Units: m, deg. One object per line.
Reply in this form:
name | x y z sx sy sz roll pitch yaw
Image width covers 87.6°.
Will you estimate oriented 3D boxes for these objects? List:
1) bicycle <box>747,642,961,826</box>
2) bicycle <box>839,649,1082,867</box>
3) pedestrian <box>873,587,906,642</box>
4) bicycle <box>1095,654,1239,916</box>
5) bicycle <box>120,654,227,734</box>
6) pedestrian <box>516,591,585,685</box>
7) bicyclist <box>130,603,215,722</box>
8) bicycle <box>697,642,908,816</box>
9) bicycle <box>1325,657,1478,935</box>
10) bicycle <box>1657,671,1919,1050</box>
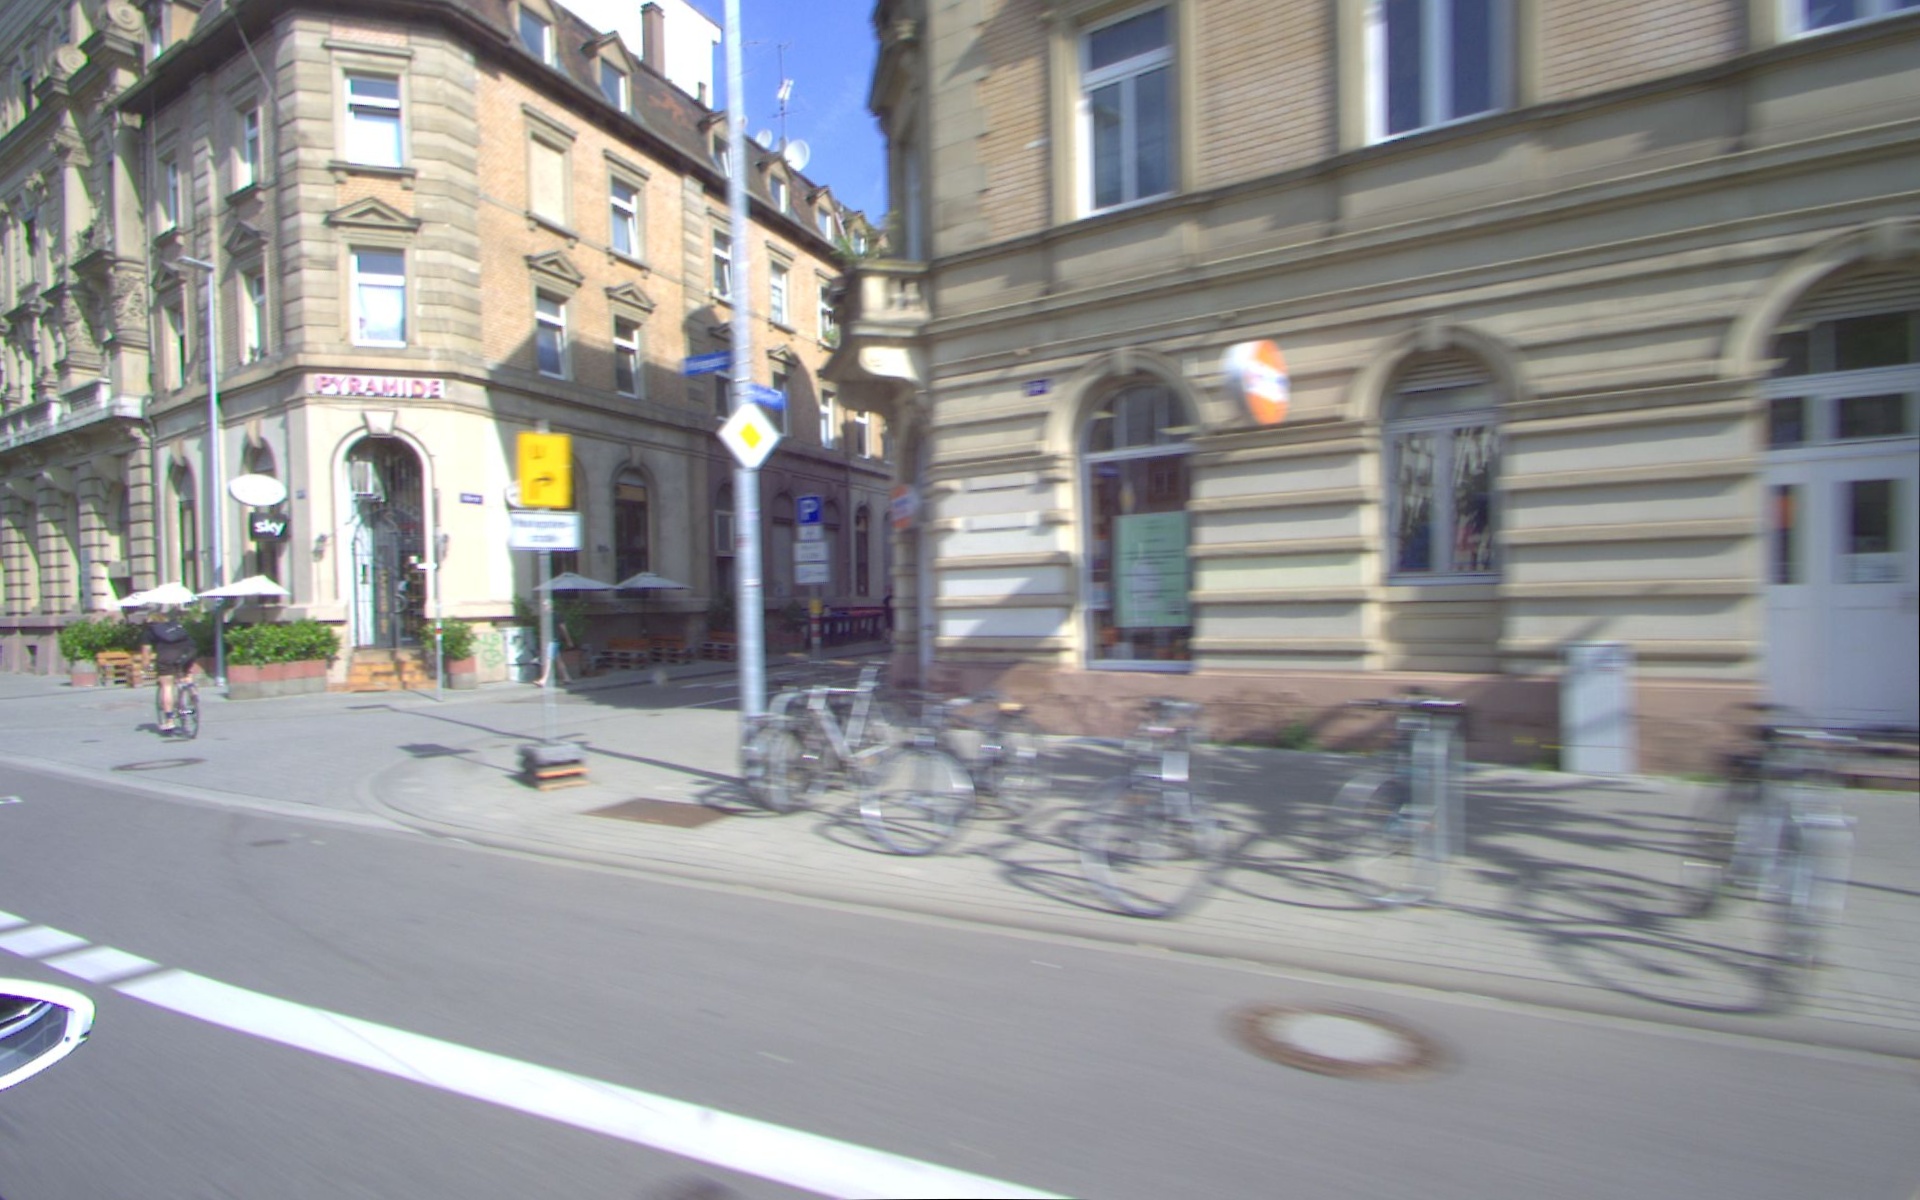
bicycle | -0.745 0.940 7.606 0.575 1.102 1.746 0 3 36
bicycle | 0.065 0.954 6.654 0.660 1.102 1.747 0 3 38
pedestrian | -2.452 0.491 34.836 0.852 1.876 0.815 2 2 24
bicycle | 1.165 0.959 5.780 0.660 1.103 1.758 -2 3 10
bicycle | -10.346 1.203 13.152 1.759 0.965 0.504 -1 -1 31
pedestrian | -8.319 0.743 20.354 0.978 1.831 0.860 1 3 29
bicyclist | -10.329 0.799 13.130 0.918 1.501 0.583 -1 0 31
bicycle | -1.199 0.957 7.998 0.575 1.102 1.746 0 3 36
bicycle | 2.428 0.960 5.550 0.647 1.103 1.754 -1 3 23
bicycle | 3.558 0.961 4.287 0.601 1.103 1.754 -1 3 23
